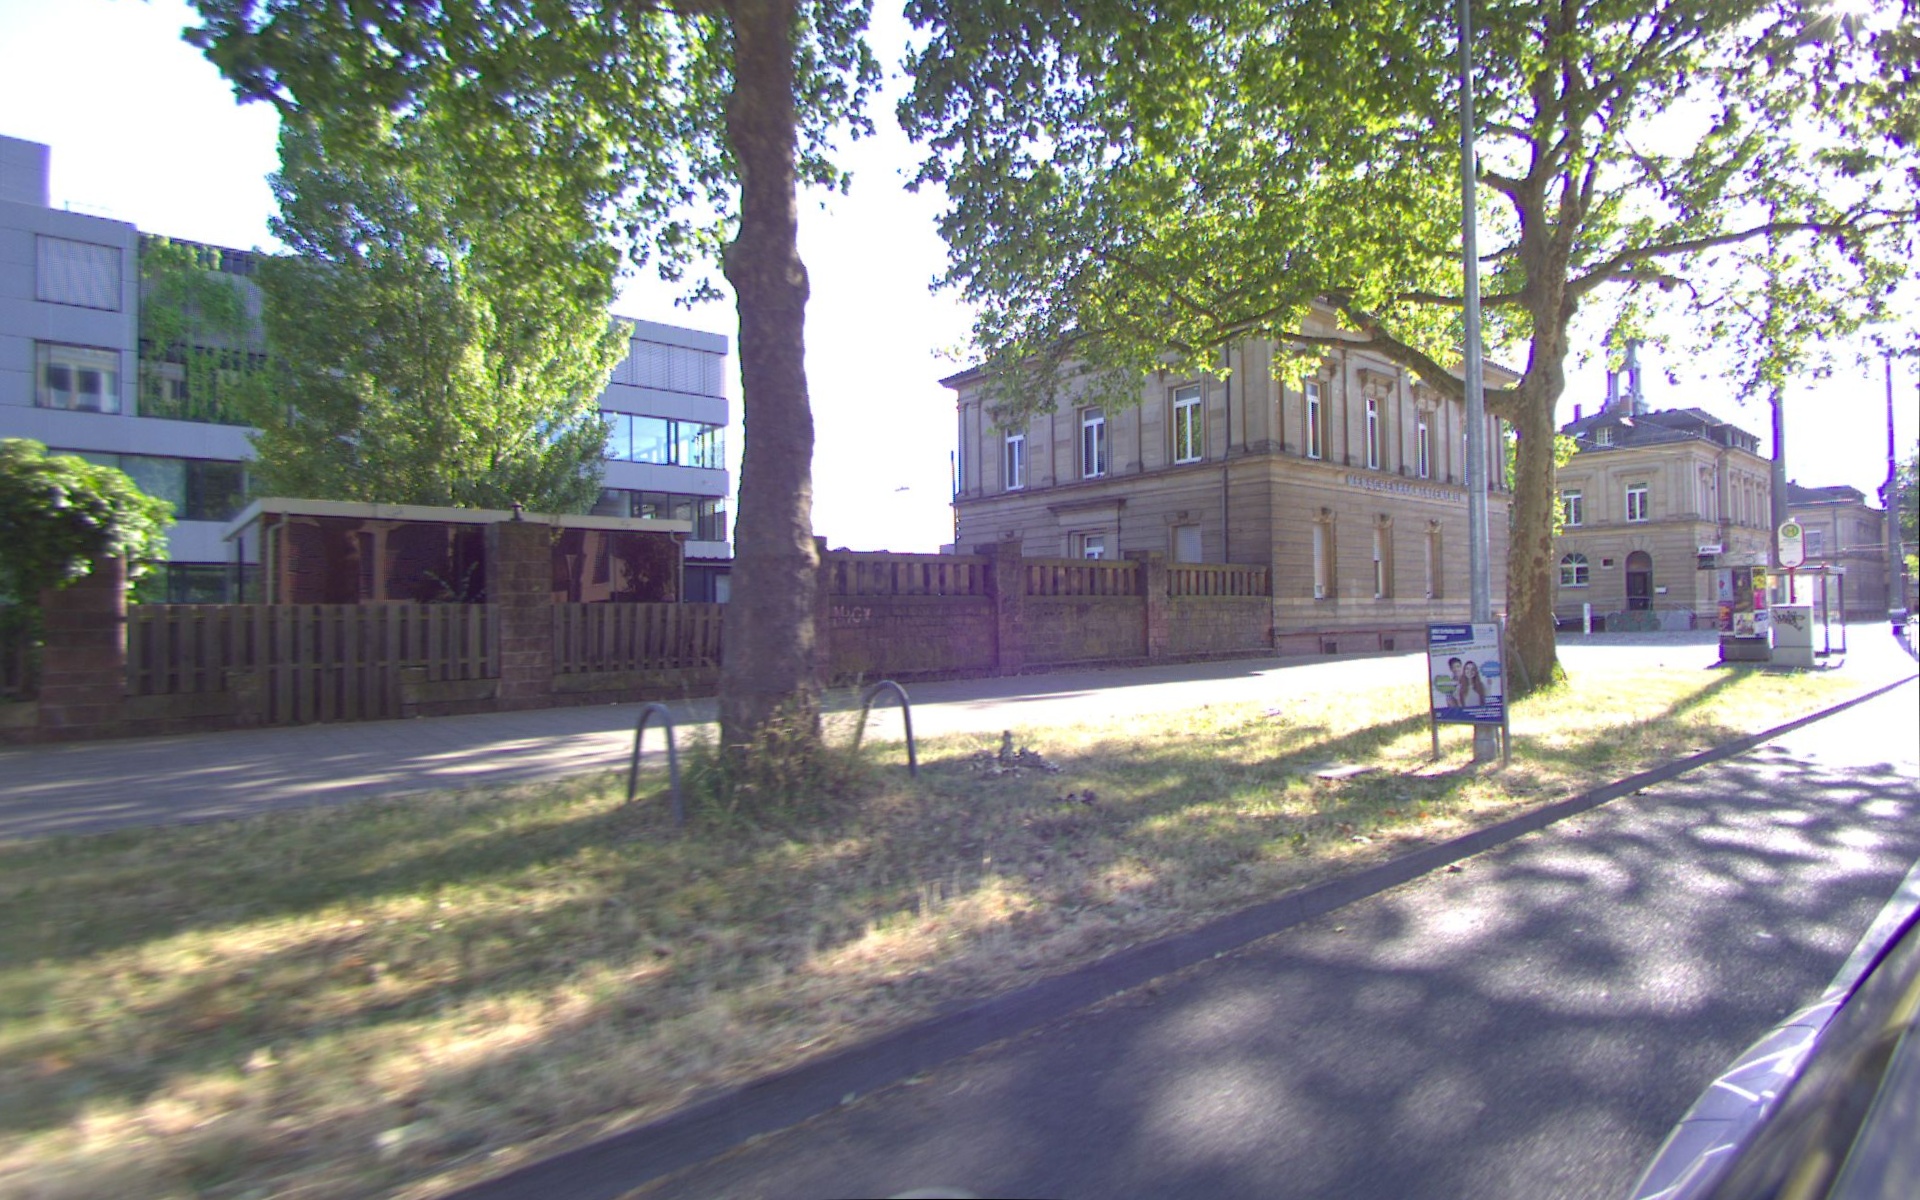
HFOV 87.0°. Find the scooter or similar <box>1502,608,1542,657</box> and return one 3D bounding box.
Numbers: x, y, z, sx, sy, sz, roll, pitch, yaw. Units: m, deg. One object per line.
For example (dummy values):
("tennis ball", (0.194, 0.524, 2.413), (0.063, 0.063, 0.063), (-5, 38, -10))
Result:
("scooter or similar", (13.910, 0.784, 25.041), (0.718, 1.170, 0.748), (0, 0, 43))

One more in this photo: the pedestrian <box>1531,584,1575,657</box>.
("pedestrian", (14.541, 0.482, 24.810), (0.769, 1.766, 0.784), (0, 0, 44))
